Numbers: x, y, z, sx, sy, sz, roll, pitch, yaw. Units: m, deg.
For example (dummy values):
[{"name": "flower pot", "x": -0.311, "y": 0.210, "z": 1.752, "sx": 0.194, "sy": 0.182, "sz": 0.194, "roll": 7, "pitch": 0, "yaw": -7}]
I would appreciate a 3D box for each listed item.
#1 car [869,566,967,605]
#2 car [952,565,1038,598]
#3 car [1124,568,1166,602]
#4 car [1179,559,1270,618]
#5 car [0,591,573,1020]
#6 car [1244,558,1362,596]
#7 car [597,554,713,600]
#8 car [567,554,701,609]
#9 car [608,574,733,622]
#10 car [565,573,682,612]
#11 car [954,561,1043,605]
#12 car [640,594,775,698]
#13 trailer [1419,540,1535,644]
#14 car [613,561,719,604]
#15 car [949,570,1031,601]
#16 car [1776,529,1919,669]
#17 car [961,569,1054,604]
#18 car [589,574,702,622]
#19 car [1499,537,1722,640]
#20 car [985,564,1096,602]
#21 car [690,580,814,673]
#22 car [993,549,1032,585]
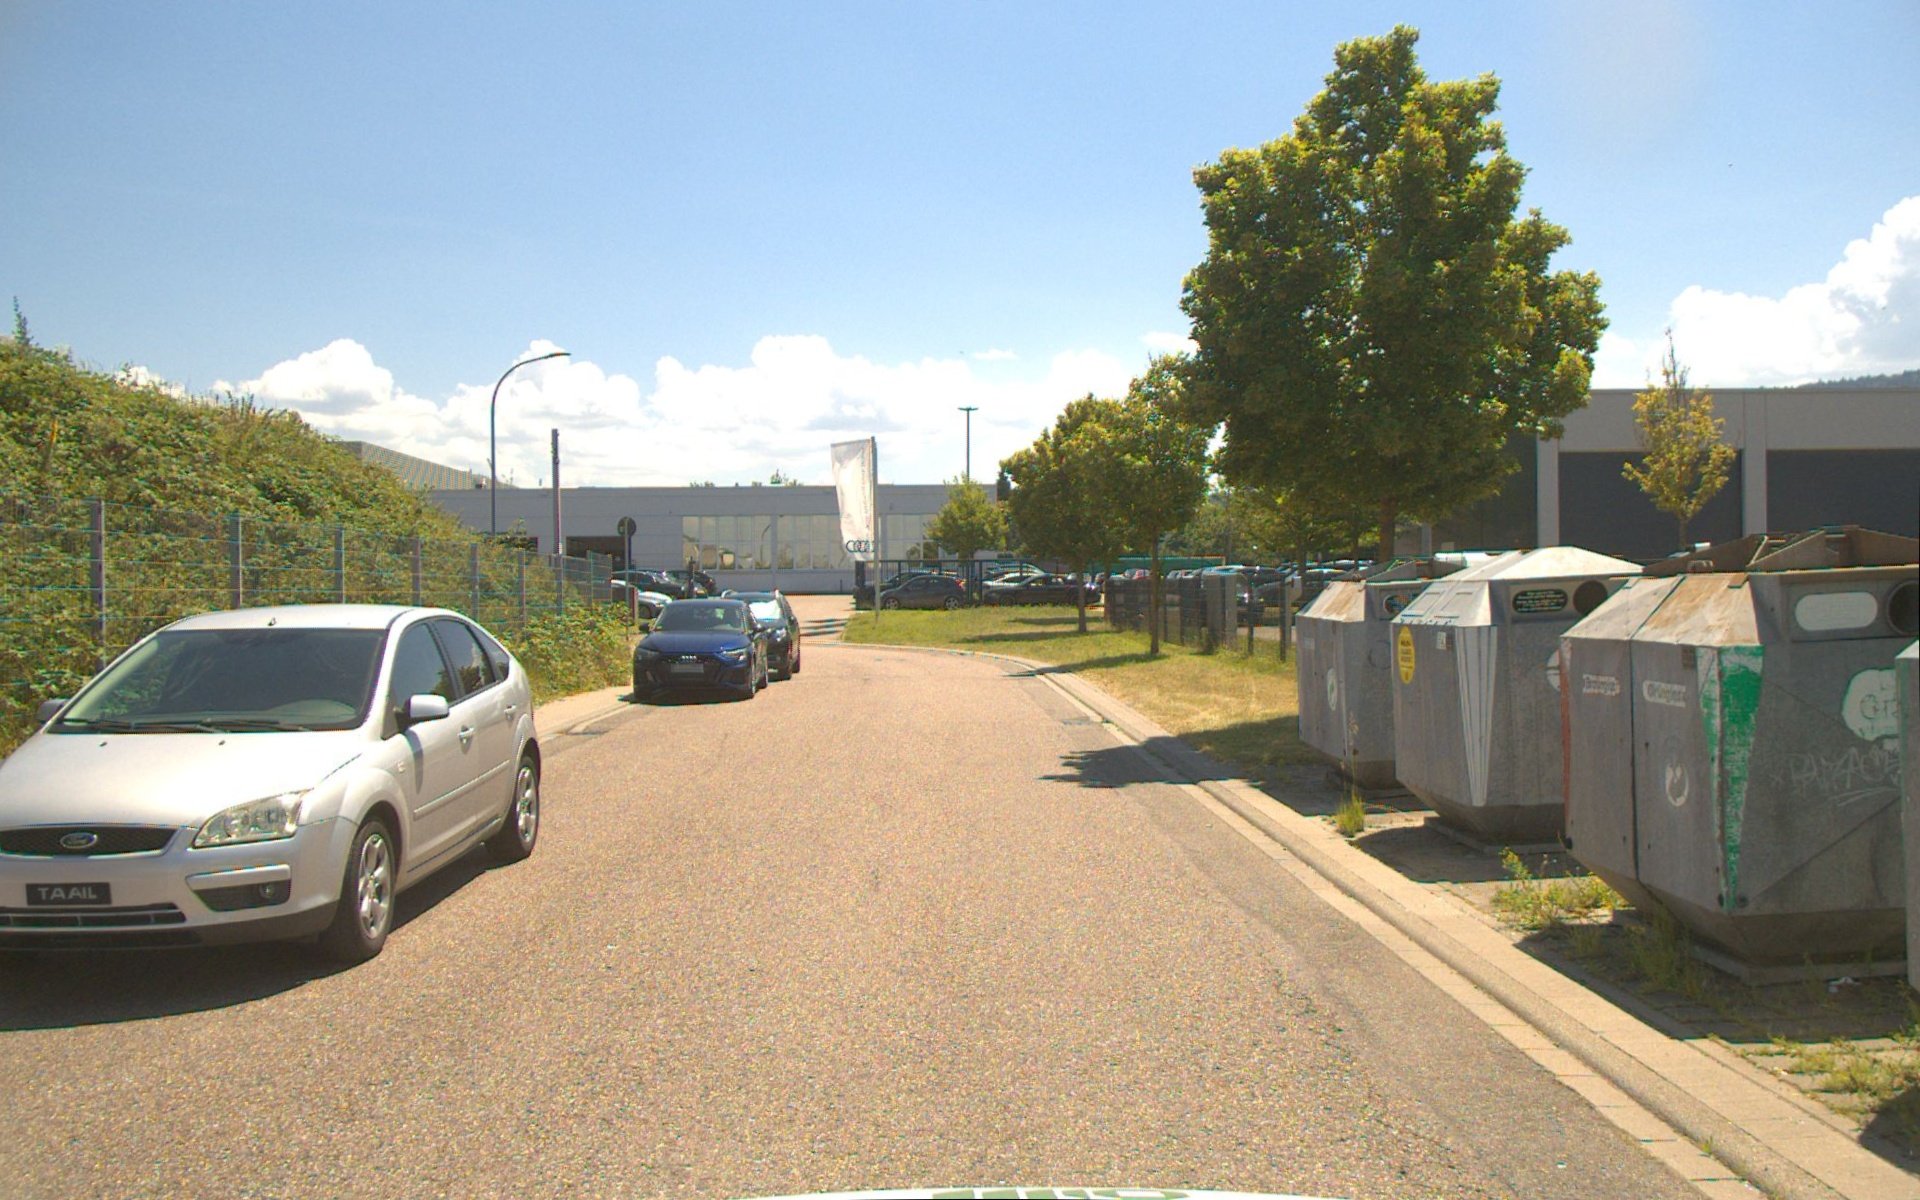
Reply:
[{"name": "car", "x": -1.744, "y": -0.583, "z": 67.694, "sx": 3.907, "sy": 1.423, "sz": 1.999, "roll": -1, "pitch": -2, "yaw": -3}, {"name": "car", "x": 1.622, "y": -0.857, "z": 78.026, "sx": 3.907, "sy": 1.423, "sz": 1.999, "roll": -1, "pitch": -2, "yaw": -3}, {"name": "car", "x": 11.162, "y": -0.893, "z": 99.873, "sx": 1.953, "sy": 1.859, "sz": 3.998, "roll": -1, "pitch": -2, "yaw": -1}, {"name": "car", "x": 7.441, "y": -0.340, "z": 46.900, "sx": 1.701, "sy": 1.549, "sz": 3.893, "roll": -1, "pitch": 1, "yaw": -4}, {"name": "car", "x": -3.357, "y": 0.767, "z": 8.366, "sx": 1.796, "sy": 1.573, "sz": 4.366, "roll": -1, "pitch": 0, "yaw": -1}, {"name": "car", "x": 14.018, "y": -0.936, "z": 67.682, "sx": 4.349, "sy": 1.423, "sz": 1.999, "roll": -1, "pitch": -2, "yaw": -3}, {"name": "car", "x": -13.609, "y": -1.034, "z": 73.982, "sx": 4.785, "sy": 1.956, "sz": 1.999, "roll": -1, "pitch": 1, "yaw": -2}, {"name": "car", "x": -13.598, "y": -0.782, "z": 69.252, "sx": 5.211, "sy": 2.134, "sz": 1.999, "roll": -1, "pitch": 1, "yaw": -2}, {"name": "car", "x": -10.710, "y": -0.071, "z": 61.415, "sx": 4.349, "sy": 1.655, "sz": 1.999, "roll": -1, "pitch": -2, "yaw": -3}, {"name": "car", "x": -13.530, "y": -0.292, "z": 66.707, "sx": 4.349, "sy": 1.423, "sz": 1.999, "roll": -1, "pitch": -2, "yaw": -3}, {"name": "car", "x": 1.751, "y": -0.782, "z": 75.863, "sx": 3.907, "sy": 1.859, "sz": 1.999, "roll": -1, "pitch": -2, "yaw": -3}, {"name": "car", "x": -3.827, "y": 0.643, "z": 25.630, "sx": 1.623, "sy": 1.442, "sz": 4.143, "roll": -1, "pitch": 0, "yaw": -3}, {"name": "trailer", "x": 10.998, "y": -0.224, "z": 35.350, "sx": 1.462, "sy": 2.041, "sz": 3.265, "roll": -1, "pitch": 3, "yaw": 1}, {"name": "car", "x": -14.179, "y": -0.833, "z": 79.945, "sx": 4.785, "sy": 1.956, "sz": 1.999, "roll": -1, "pitch": 1, "yaw": -2}, {"name": "car", "x": 1.443, "y": -0.704, "z": 81.506, "sx": 3.907, "sy": 1.423, "sz": 1.999, "roll": -1, "pitch": -2, "yaw": -3}, {"name": "car", "x": 11.606, "y": -0.049, "z": 19.362, "sx": 1.754, "sy": 1.557, "sz": 4.420, "roll": -1, "pitch": 2, "yaw": -3}, {"name": "car", "x": 2.057, "y": -0.604, "z": 72.604, "sx": 3.907, "sy": 1.422, "sz": 1.999, "roll": -1, "pitch": -1, "yaw": -3}, {"name": "car", "x": -13.513, "y": -0.104, "z": 71.290, "sx": 4.494, "sy": 1.956, "sz": 1.999, "roll": -1, "pitch": 1, "yaw": -2}, {"name": "car", "x": 11.226, "y": -0.132, "z": 28.912, "sx": 1.843, "sy": 1.549, "sz": 4.464, "roll": -1, "pitch": -2, "yaw": -4}, {"name": "car", "x": 3.267, "y": -0.689, "z": 67.876, "sx": 4.349, "sy": 1.423, "sz": 1.999, "roll": -1, "pitch": -2, "yaw": -3}, {"name": "car", "x": -3.805, "y": 0.450, "z": 30.864, "sx": 1.796, "sy": 1.573, "sz": 4.264, "roll": -1, "pitch": 0, "yaw": -1}, {"name": "car", "x": 2.968, "y": -1.863, "z": 94.180, "sx": 1.953, "sy": 1.859, "sz": 3.998, "roll": -1, "pitch": -2, "yaw": -1}]
